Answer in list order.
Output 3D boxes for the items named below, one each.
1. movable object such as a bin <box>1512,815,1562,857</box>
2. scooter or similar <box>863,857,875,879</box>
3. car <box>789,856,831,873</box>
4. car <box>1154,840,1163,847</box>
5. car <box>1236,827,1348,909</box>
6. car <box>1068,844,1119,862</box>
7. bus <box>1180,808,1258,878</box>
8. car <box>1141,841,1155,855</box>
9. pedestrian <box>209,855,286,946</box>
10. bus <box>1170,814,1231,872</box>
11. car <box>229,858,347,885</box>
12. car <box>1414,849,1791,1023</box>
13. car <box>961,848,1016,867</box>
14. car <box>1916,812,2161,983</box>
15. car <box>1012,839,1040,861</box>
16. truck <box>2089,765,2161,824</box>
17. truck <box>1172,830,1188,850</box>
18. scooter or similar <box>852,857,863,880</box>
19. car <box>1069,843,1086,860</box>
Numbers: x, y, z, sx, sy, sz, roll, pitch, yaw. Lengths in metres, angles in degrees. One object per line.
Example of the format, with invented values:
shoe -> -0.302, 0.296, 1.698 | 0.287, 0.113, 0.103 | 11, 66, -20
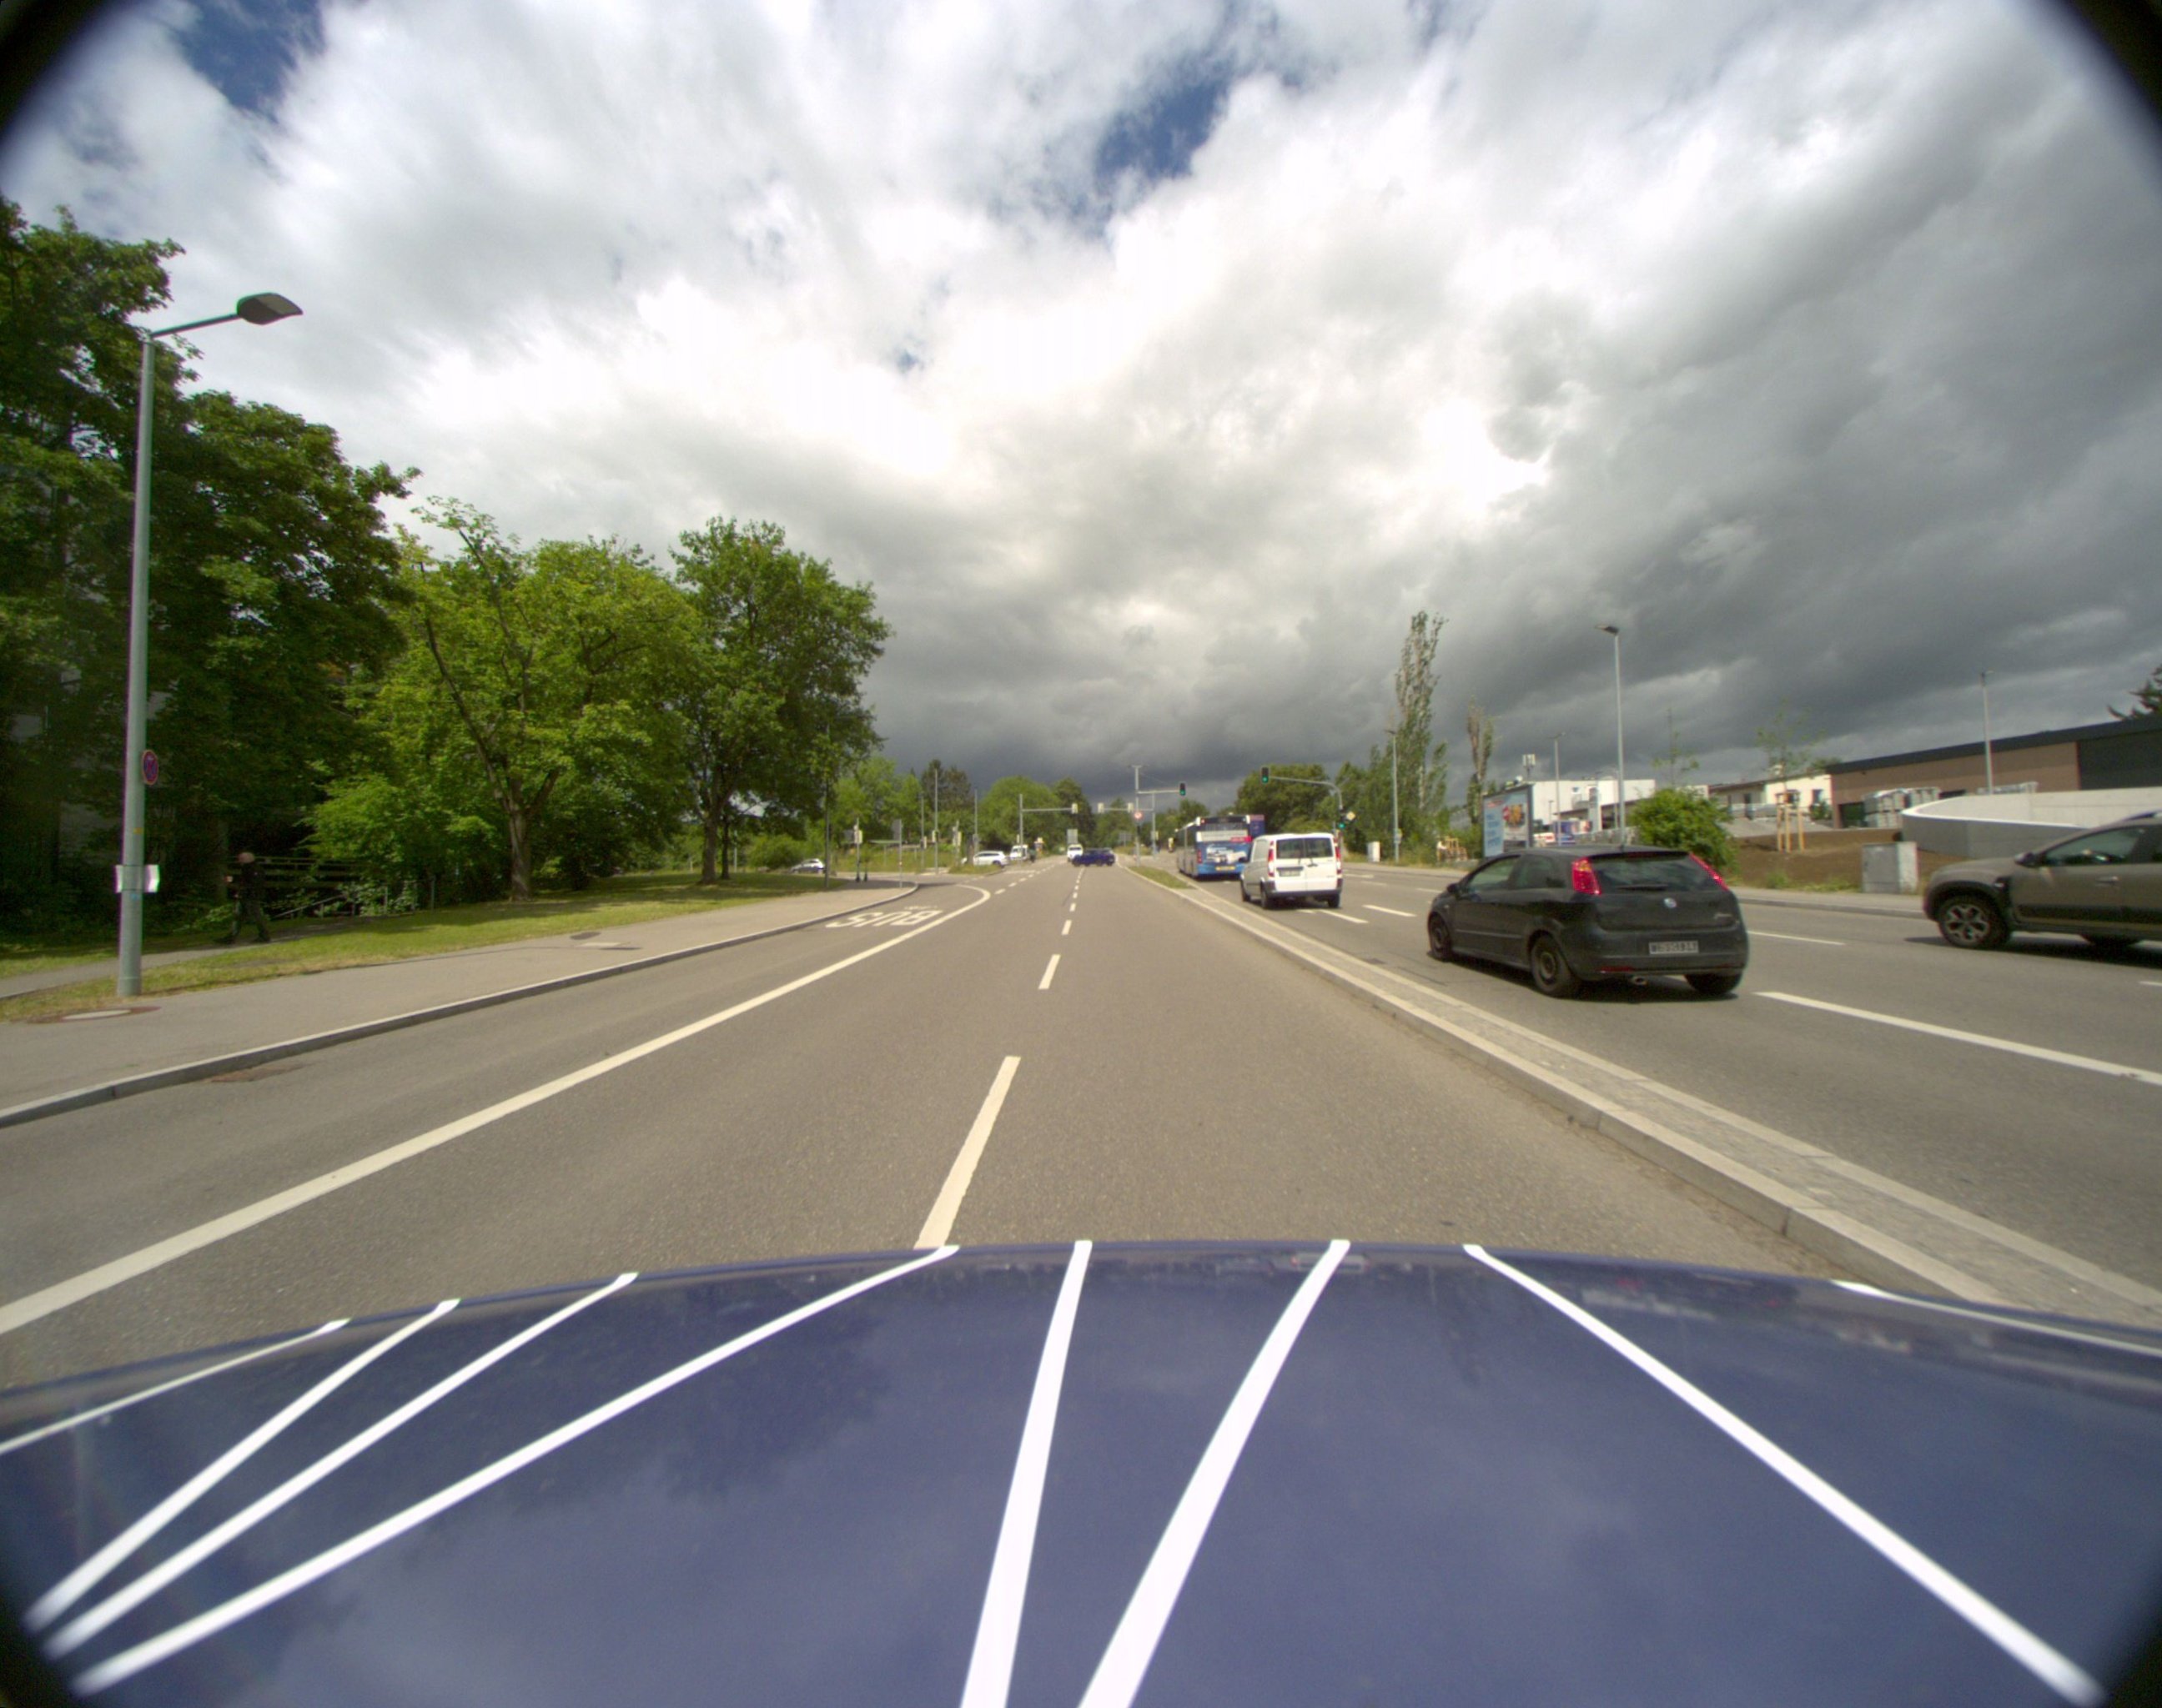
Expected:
movable object such as a bin -> 29.177, -1.143, 48.699 | 2.148, 2.523, 3.419 | -1, 1, 21
scooter or similar -> -12.306, 0.831, 44.115 | 0.534, 1.256, 1.188 | 0, 0, -21
car -> -26.145, 1.018, 73.469 | 3.522, 1.451, 1.586 | -2, -3, -4
car -> 18.509, -2.502, 181.416 | 1.695, 1.391, 4.003 | -1, -3, 2
car -> 5.532, 0.334, 20.567 | 1.881, 1.913, 4.751 | -2, 0, 3
car -> 1.171, -0.119, 70.218 | 4.386, 1.502, 1.814 | -2, 0, 31
bus -> 6.927, -0.503, 39.405 | 2.822, 3.145, 8.910 | -2, 0, 3
car -> 11.051, -1.001, 125.374 | 1.998, 2.000, 4.003 | -1, -4, 1
pedestrian -> -16.050, 0.902, 14.640 | 0.589, 1.707, 0.776 | -2, -4, 20
bus -> 7.484, -0.683, 48.885 | 2.822, 3.266, 10.121 | -2, 1, 3
car -> -40.627, 0.899, 39.044 | 1.773, 1.284, 3.805 | -2, -2, 22
car -> 5.307, 0.710, 8.425 | 1.641, 1.462, 3.776 | -2, 0, 2
car -> -8.859, 0.318, 73.186 | 4.894, 1.649, 1.734 | -2, 0, 9
car -> 11.667, 0.413, 7.760 | 1.734, 1.703, 4.271 | -2, 1, 3
car -> -6.888, -0.486, 95.936 | 2.162, 2.635, 5.829 | -2, 0, 10
truck -> 44.798, -2.618, 30.286 | 1.996, 2.131, 6.593 | -2, -4, 18
truck -> 21.554, -3.024, 165.971 | 2.844, 3.555, 6.973 | -1, -4, 2
scooter or similar -> -12.546, 0.812, 42.641 | 0.534, 1.256, 1.188 | 0, 0, -21
car -> -0.459, -0.348, 93.118 | 1.909, 1.926, 4.970 | -2, 1, -1
